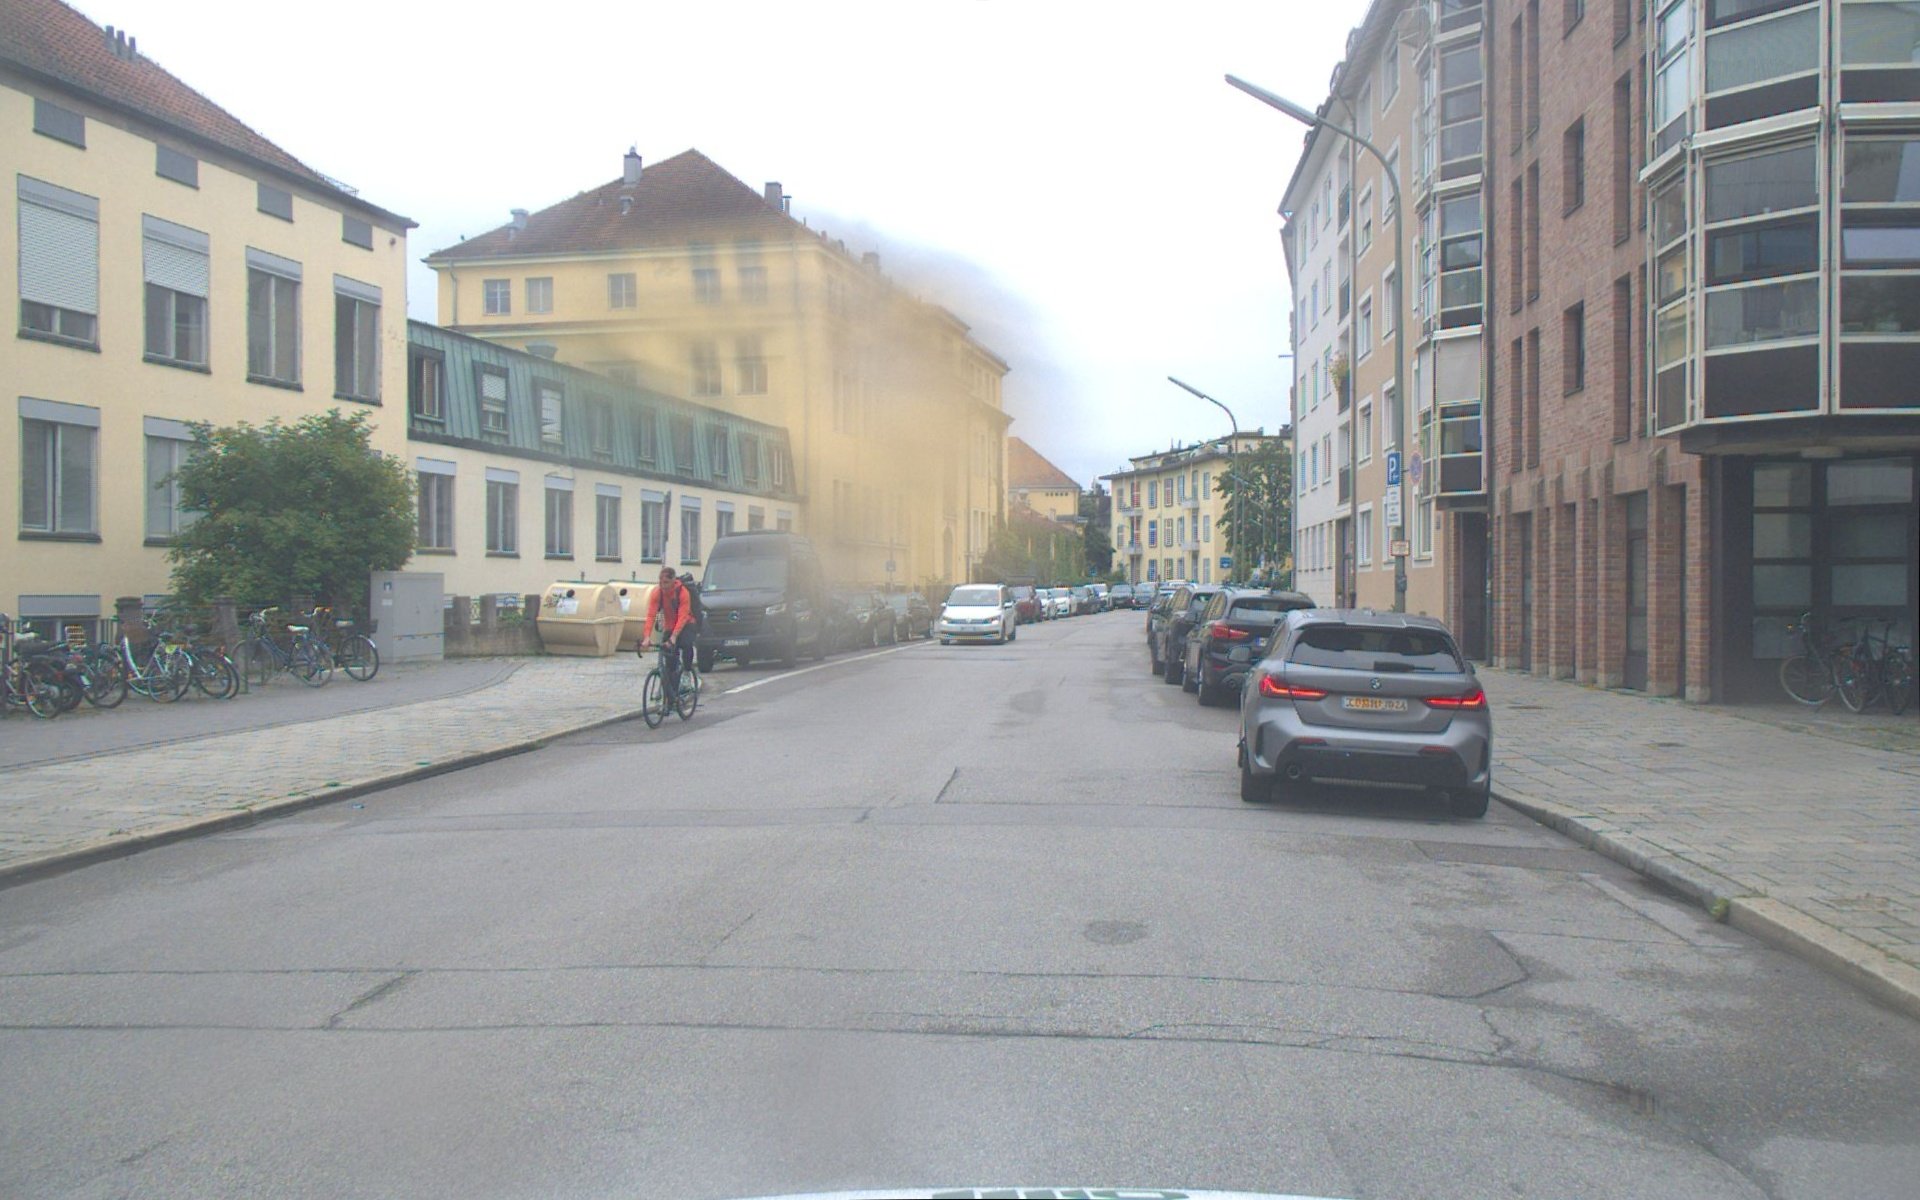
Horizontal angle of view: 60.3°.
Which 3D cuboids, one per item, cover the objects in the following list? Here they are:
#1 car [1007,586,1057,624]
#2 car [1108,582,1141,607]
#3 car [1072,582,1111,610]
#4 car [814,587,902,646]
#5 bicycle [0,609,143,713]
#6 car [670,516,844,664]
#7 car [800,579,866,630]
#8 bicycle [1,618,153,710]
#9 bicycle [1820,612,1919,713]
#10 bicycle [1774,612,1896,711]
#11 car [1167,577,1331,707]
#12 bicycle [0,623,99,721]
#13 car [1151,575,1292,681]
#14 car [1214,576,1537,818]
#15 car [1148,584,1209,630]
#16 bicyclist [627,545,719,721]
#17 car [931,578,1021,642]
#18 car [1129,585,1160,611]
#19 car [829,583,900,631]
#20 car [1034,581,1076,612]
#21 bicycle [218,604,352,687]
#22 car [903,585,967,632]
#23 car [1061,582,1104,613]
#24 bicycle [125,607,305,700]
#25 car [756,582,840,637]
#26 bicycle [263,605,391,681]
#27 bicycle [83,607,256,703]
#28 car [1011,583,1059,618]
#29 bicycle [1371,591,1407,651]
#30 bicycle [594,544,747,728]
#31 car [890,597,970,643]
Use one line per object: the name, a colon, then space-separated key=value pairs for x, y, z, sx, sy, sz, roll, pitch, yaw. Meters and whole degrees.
car: x=3.094 y=0.192 z=70.167 sx=1.661 sy=1.469 sz=3.512 roll=2 pitch=1 yaw=10
car: x=11.103 y=-0.413 z=111.564 sx=1.951 sy=1.575 sz=4.004 roll=2 pitch=1 yaw=9
car: x=7.847 y=-0.269 z=98.313 sx=1.951 sy=1.575 sz=4.004 roll=2 pitch=1 yaw=9
car: x=-2.764 y=0.413 z=45.721 sx=1.663 sy=1.478 sz=3.745 roll=2 pitch=1 yaw=8
bicycle: x=-11.127 y=0.723 z=20.139 sx=2.499 sy=1.227 sz=0.425 roll=0 pitch=1 yaw=17
car: x=-4.071 y=-0.162 z=34.420 sx=2.370 sy=2.762 sz=5.956 roll=-1 pitch=-1 yaw=5
car: x=-4.506 y=0.134 z=59.000 sx=1.571 sy=1.689 sz=2.811 roll=2 pitch=1 yaw=12
bicycle: x=-11.094 y=0.788 z=20.786 sx=1.827 sy=1.047 sz=0.540 roll=2 pitch=1 yaw=17
bicycle: x=10.720 y=0.701 z=19.266 sx=0.476 sy=1.078 sz=1.997 roll=1 pitch=1 yaw=4
bicycle: x=10.183 y=0.685 z=19.310 sx=0.476 sy=1.078 sz=1.997 roll=1 pitch=0 yaw=4
car: x=4.069 y=0.523 z=23.882 sx=1.792 sy=1.630 sz=4.268 roll=1 pitch=1 yaw=3
bicycle: x=-10.978 y=0.827 z=19.333 sx=1.753 sy=1.051 sz=0.508 roll=2 pitch=1 yaw=17
car: x=4.476 y=0.418 z=28.974 sx=1.923 sy=1.629 sz=4.673 roll=1 pitch=1 yaw=3
car: x=3.085 y=0.631 z=13.175 sx=1.884 sy=1.538 sz=4.395 roll=2 pitch=0 yaw=6
car: x=7.246 y=0.215 z=55.105 sx=1.847 sy=1.434 sz=4.434 roll=2 pitch=0 yaw=6
bicyclist: x=-3.472 y=0.390 z=20.058 sx=0.750 sy=2.048 sz=0.768 roll=-3 pitch=0 yaw=12
car: x=0.508 y=0.323 z=46.701 sx=1.983 sy=1.650 sz=4.508 roll=-2 pitch=-2 yaw=7
car: x=11.172 y=-0.146 z=99.965 sx=1.661 sy=1.469 sz=3.512 roll=2 pitch=1 yaw=10
car: x=-3.574 y=0.224 z=62.572 sx=1.683 sy=1.689 sz=3.751 roll=2 pitch=1 yaw=12
car: x=4.782 y=-0.195 z=83.171 sx=1.661 sy=1.469 sz=3.512 roll=2 pitch=1 yaw=10
bicycle: x=-10.104 y=0.670 z=24.757 sx=1.915 sy=1.151 sz=0.573 roll=2 pitch=1 yaw=17
car: x=-0.899 y=0.288 z=61.543 sx=1.734 sy=1.577 sz=3.782 roll=2 pitch=1 yaw=9
car: x=6.629 y=-0.162 z=89.114 sx=1.951 sy=1.575 sz=4.004 roll=2 pitch=1 yaw=9
bicycle: x=-10.322 y=0.716 z=22.900 sx=2.434 sy=1.160 sz=0.637 roll=2 pitch=1 yaw=17
car: x=-5.361 y=0.298 z=55.133 sx=1.683 sy=1.689 sz=3.751 roll=2 pitch=1 yaw=12
bicycle: x=-10.117 y=0.679 z=26.435 sx=1.864 sy=1.111 sz=0.678 roll=2 pitch=1 yaw=17
bicycle: x=-10.531 y=0.712 z=22.034 sx=2.261 sy=1.154 sz=0.582 roll=2 pitch=1 yaw=17
car: x=3.461 y=-0.004 z=75.869 sx=1.661 sy=1.469 sz=3.512 roll=2 pitch=1 yaw=10
bicycle: x=10.057 y=0.477 z=38.839 sx=0.458 sy=1.310 sz=2.677 roll=1 pitch=1 yaw=7
bicycle: x=-3.441 y=0.381 z=20.018 sx=0.732 sy=2.048 sz=2.850 roll=-2 pitch=0 yaw=12
car: x=-0.866 y=0.585 z=50.430 sx=1.496 sy=1.223 sz=3.744 roll=2 pitch=1 yaw=14
